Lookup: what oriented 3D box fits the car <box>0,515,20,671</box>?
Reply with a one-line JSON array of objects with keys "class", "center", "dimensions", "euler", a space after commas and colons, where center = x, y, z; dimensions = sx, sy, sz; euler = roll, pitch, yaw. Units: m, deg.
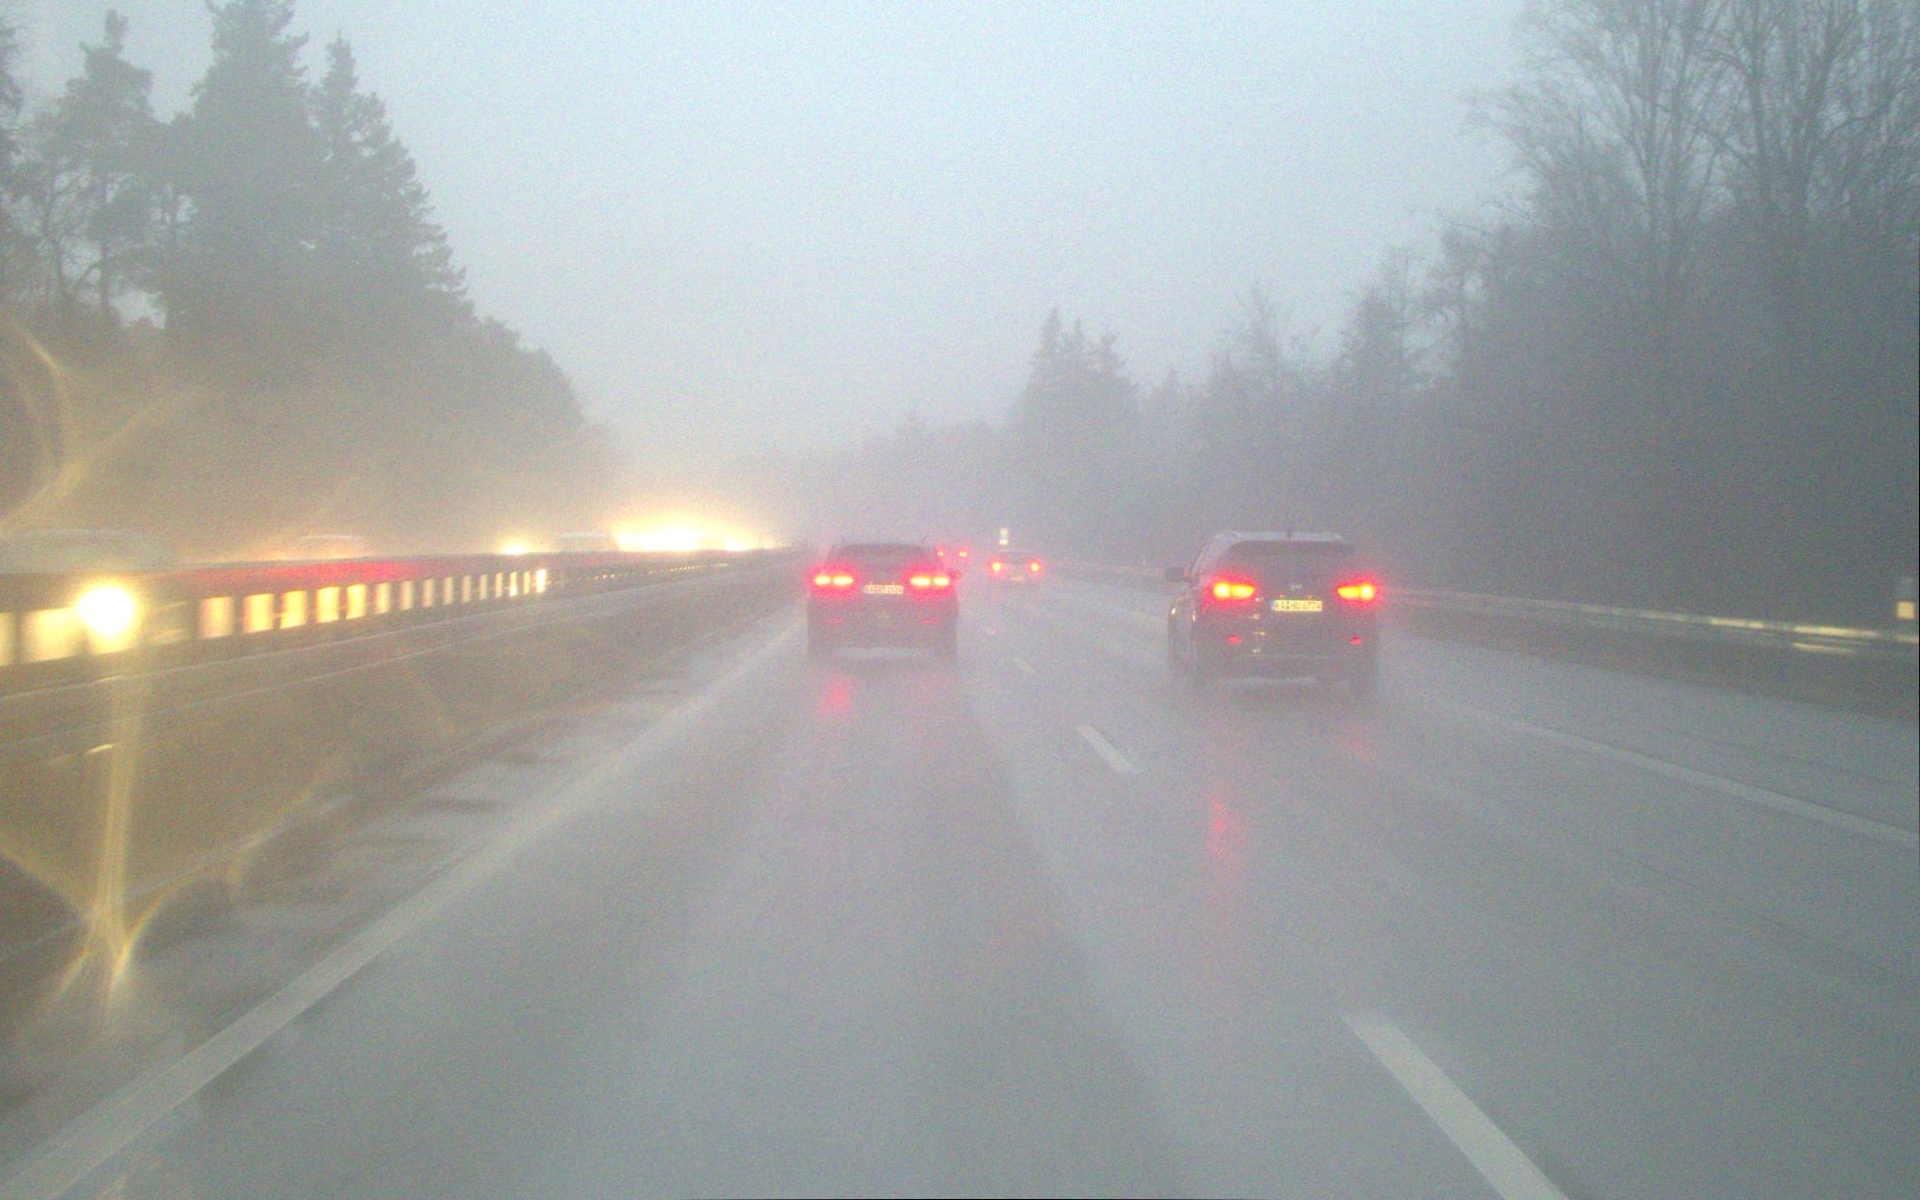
[{"class": "car", "center": [-11.986, -0.076, 38.415], "dimensions": [1.855, 1.793, 4.000], "euler": [1, 1, 0]}]

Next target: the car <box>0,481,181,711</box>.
[{"class": "car", "center": [-8.856, -0.080, 32.431], "dimensions": [1.993, 2.007, 4.729], "euler": [1, 1, -1]}]

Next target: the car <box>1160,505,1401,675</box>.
[{"class": "car", "center": [3.382, -0.133, 37.098], "dimensions": [2.070, 1.692, 4.461], "euler": [1, 1, -1]}]

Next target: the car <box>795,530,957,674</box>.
[{"class": "car", "center": [-1.041, -0.006, 44.317], "dimensions": [1.986, 1.761, 4.173], "euler": [0, 1, 0]}]
